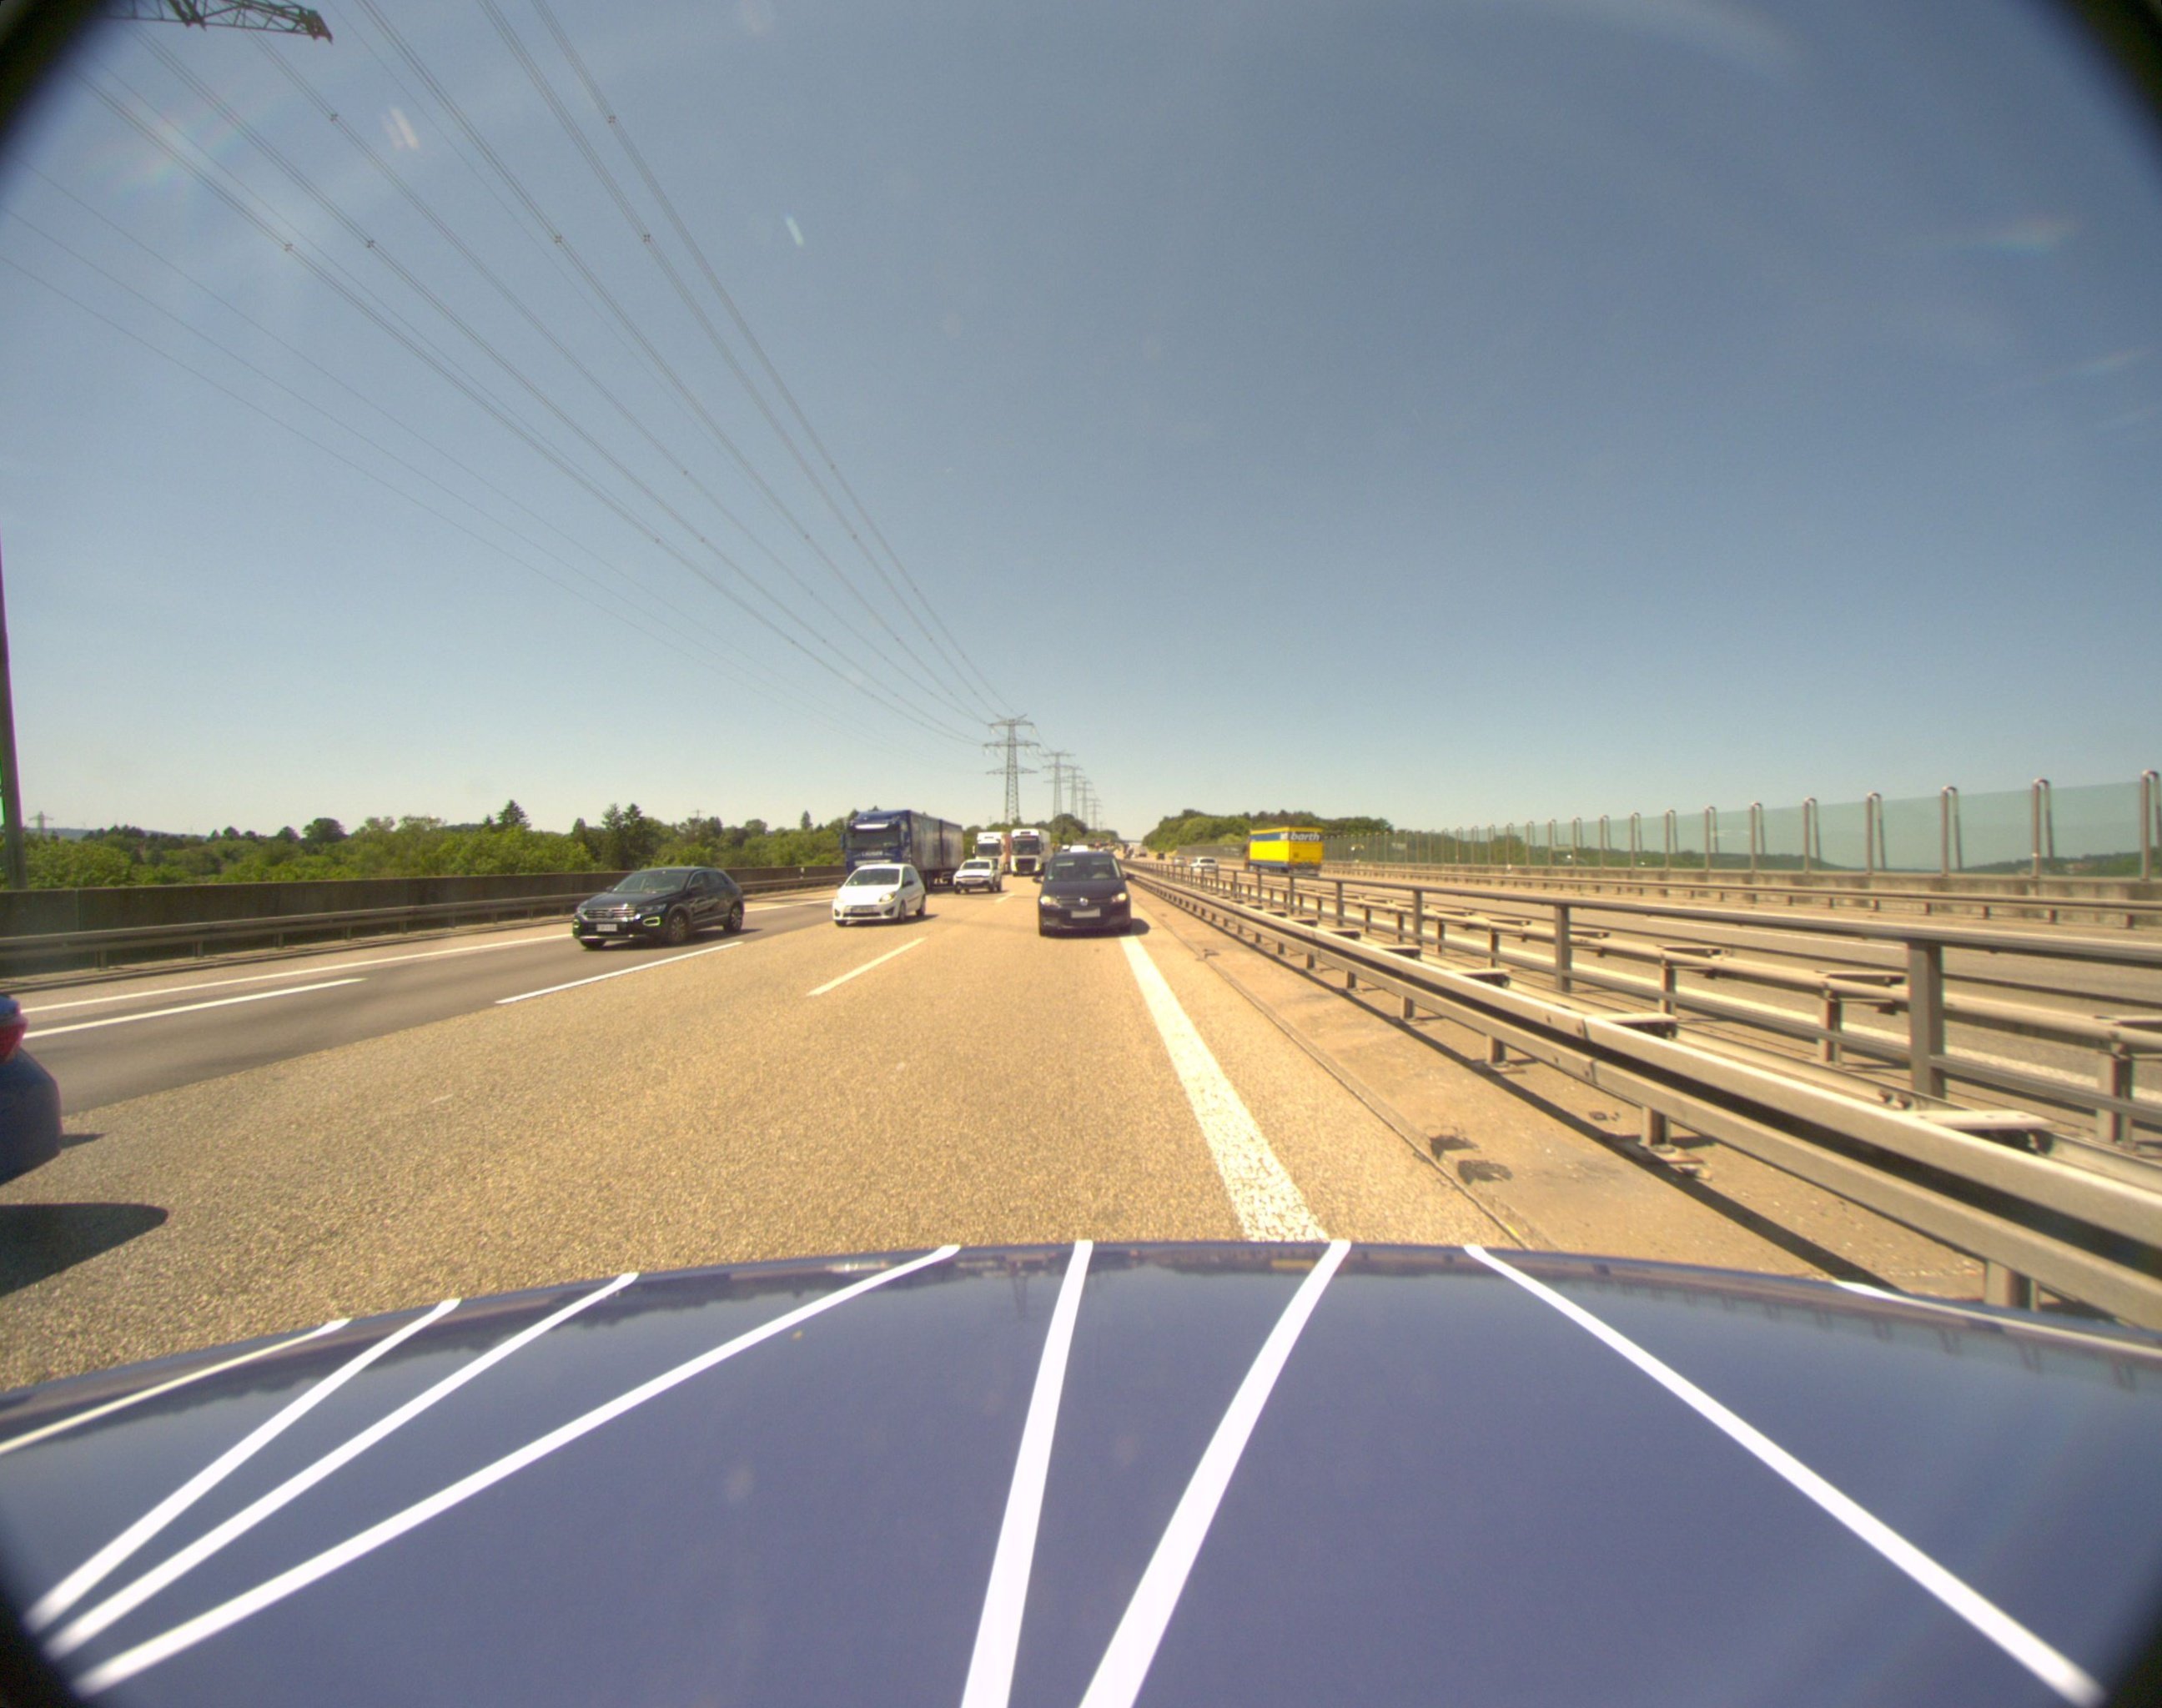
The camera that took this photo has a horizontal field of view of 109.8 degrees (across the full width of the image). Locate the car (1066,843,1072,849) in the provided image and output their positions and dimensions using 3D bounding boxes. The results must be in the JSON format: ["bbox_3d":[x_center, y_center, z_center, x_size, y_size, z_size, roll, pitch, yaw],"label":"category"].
[{"bbox_3d":[-3.672,-2.523,237.235,1.701,1.599,3.639,-2,1,1],"label":"car"}]

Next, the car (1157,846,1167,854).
[{"bbox_3d":[20.602,-0.956,193.238,2.021,2.002,3.968,-2,1,1],"label":"car"}]

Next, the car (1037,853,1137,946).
[{"bbox_3d":[0.093,0.804,15.516,1.739,1.607,3.911,-2,0,0],"label":"car"}]

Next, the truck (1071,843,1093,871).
[{"bbox_3d":[0.164,0.259,80.382,2.100,2.700,5.864,-2,1,1],"label":"truck"}]

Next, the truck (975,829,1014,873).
[{"bbox_3d":[-8.206,-0.331,72.868,2.914,3.869,6.739,-2,1,0],"label":"truck"}]

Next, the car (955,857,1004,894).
[{"bbox_3d":[-4.590,0.959,34.925,1.722,1.526,3.753,-2,0,0],"label":"car"}]

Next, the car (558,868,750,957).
[{"bbox_3d":[-8.620,1.098,15.778,1.709,1.497,3.888,-2,0,0],"label":"car"}]

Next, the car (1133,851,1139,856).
[{"bbox_3d":[16.836,-0.240,232.505,1.473,1.492,3.200,-1,1,1],"label":"car"}]

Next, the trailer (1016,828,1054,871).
[{"bbox_3d":[-4.352,-0.468,73.792,2.898,3.847,9.773,-2,1,0],"label":"trailer"}]

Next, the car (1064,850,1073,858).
[{"bbox_3d":[-2.514,0.047,155.960,1.701,1.599,3.639,-2,1,1],"label":"car"}]

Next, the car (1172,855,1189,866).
[{"bbox_3d":[13.687,0.856,104.729,1.767,1.374,4.078,1,0,0],"label":"car"}]

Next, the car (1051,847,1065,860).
[{"bbox_3d":[-3.737,-0.117,123.174,1.998,2.002,3.999,-2,1,1],"label":"car"}]

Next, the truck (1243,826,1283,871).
[{"bbox_3d":[17.024,-0.504,71.376,2.420,4.035,5.542,0,1,1],"label":"truck"}]

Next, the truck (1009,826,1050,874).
[{"bbox_3d":[-4.352,-0.363,65.535,2.914,3.869,6.739,-2,1,0],"label":"truck"}]

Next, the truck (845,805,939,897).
[{"bbox_3d":[-8.965,-0.138,37.047,2.517,3.944,7.926,-2,0,0],"label":"truck"}]

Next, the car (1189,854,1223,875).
[{"bbox_3d":[9.047,0.728,55.440,1.762,1.440,4.286,1,0,0],"label":"car"}]

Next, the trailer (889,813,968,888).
[{"bbox_3d":[-9.037,-0.243,46.451,2.543,3.971,10.883,-2,1,0],"label":"trailer"}]

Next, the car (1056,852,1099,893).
[{"bbox_3d":[-0.146,0.747,32.360,1.685,1.607,3.642,-2,0,0],"label":"car"}]

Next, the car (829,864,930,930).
[{"bbox_3d":[-5.082,1.027,19.629,1.584,1.432,3.629,-2,0,0],"label":"car"}]

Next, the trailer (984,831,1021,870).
[{"bbox_3d":[-8.214,-0.396,80.615,2.904,3.779,8.687,-2,1,0],"label":"trailer"}]

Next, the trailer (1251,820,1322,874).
[{"bbox_3d":[16.923,-0.503,63.810,2.429,4.040,13.801,0,0,1],"label":"trailer"}]

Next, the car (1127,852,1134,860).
[{"bbox_3d":[12.771,0.569,197.410,1.584,2.002,3.546,0,0,1],"label":"car"}]

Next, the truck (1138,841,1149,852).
[{"bbox_3d":[21.726,-2.744,263.063,3.289,3.628,6.975,-2,1,1],"label":"truck"}]

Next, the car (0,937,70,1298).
[{"bbox_3d":[-5.230,1.105,1.009,1.714,1.432,4.500,-2,0,0],"label":"car"}]
